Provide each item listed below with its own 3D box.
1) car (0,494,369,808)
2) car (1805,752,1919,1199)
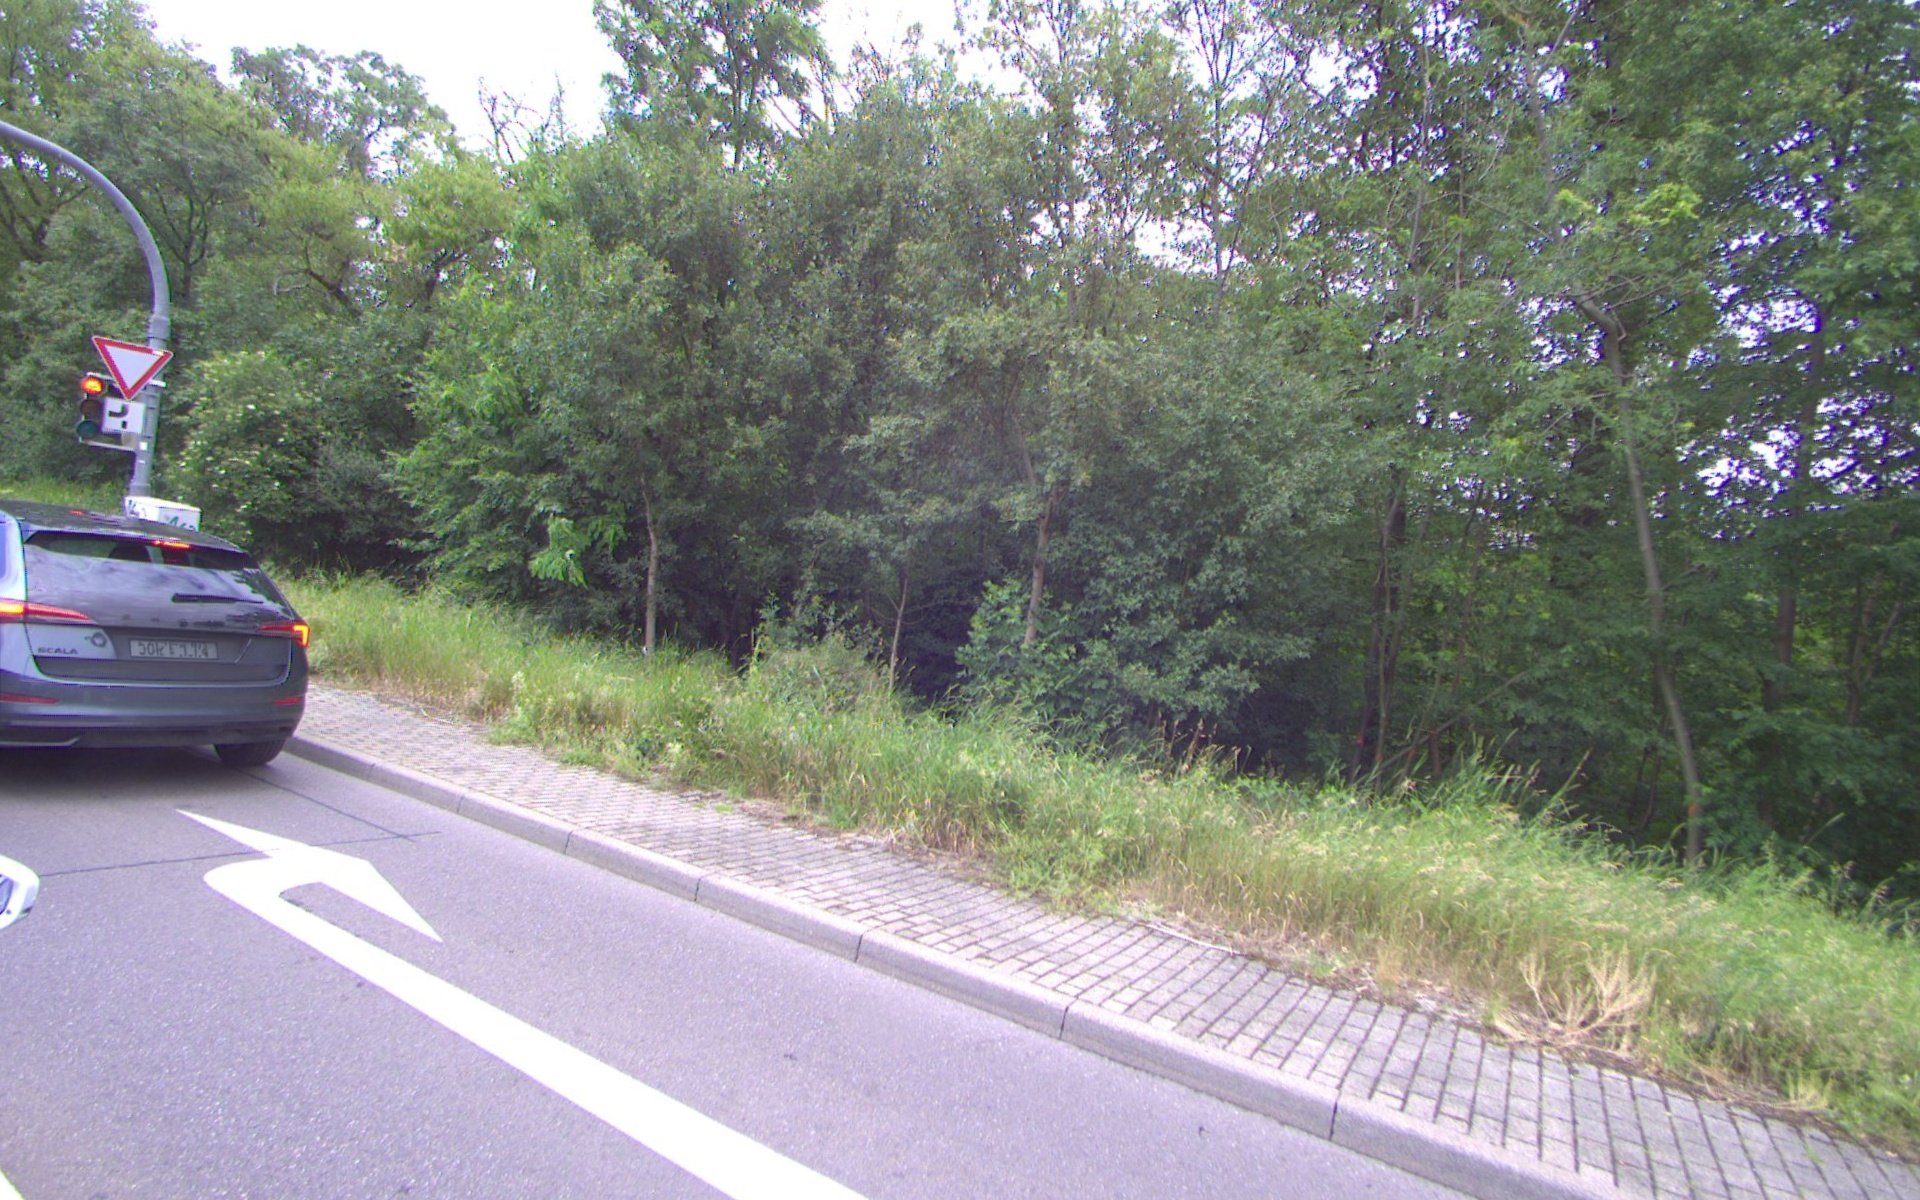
[{"bbox_3d":[-5.802,0.109,6.350,3.933,1.468,1.796,7,-1,31],"label":"car"},{"bbox_3d":[3.162,1.192,0.612,3.792,1.474,1.728,7,-1,33],"label":"car"}]
